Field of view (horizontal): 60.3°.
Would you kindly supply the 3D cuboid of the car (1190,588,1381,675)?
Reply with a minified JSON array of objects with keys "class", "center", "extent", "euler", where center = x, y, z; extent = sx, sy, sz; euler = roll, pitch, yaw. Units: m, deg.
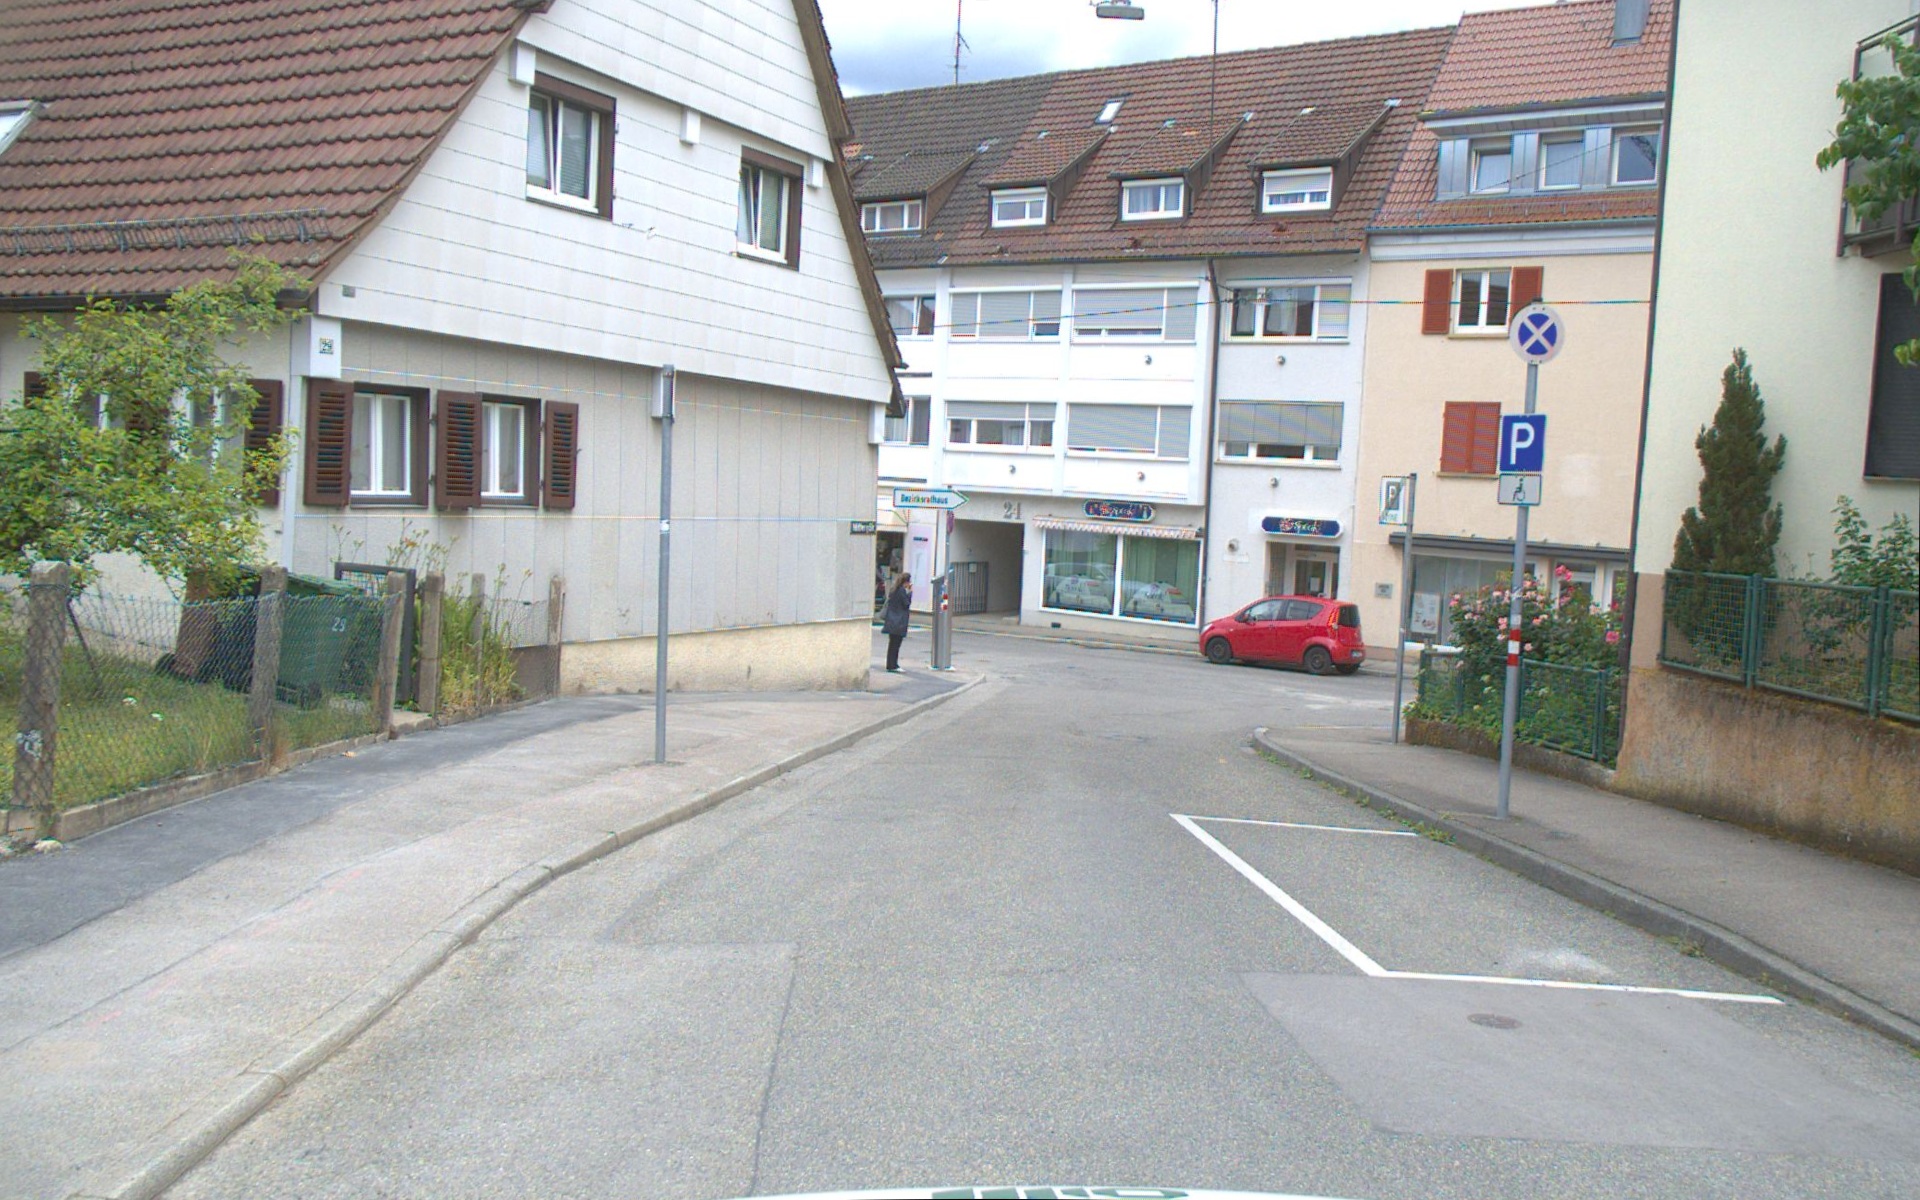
[{"class":"car","center":[6.988,0.650,35.678],"extent":[3.625,1.583,1.689],"euler":[4,2,38]}]

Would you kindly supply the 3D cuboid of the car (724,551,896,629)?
[{"class":"car","center":[-3.959,-0.296,43.433],"extent":[4.284,1.810,1.939],"euler":[4,2,37]}]

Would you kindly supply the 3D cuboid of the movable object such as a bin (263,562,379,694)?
[{"class":"movable object such as a bin","center":[-4.696,0.211,12.161],"extent":[0.517,0.899,0.489],"euler":[7,-1,26]}]

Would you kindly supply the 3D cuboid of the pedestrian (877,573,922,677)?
[{"class":"pedestrian","center":[-1.036,0.416,28.147],"extent":[0.634,1.714,0.603],"euler":[3,1,-8]}]

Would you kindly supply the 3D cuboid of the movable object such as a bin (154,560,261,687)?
[{"class":"movable object such as a bin","center":[-5.710,0.180,12.559],"extent":[0.485,0.892,0.452],"euler":[6,-1,27]}]

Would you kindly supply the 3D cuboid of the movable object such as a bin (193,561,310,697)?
[{"class":"movable object such as a bin","center":[-5.254,0.222,12.271],"extent":[0.517,0.933,0.489],"euler":[7,-1,26]}]
